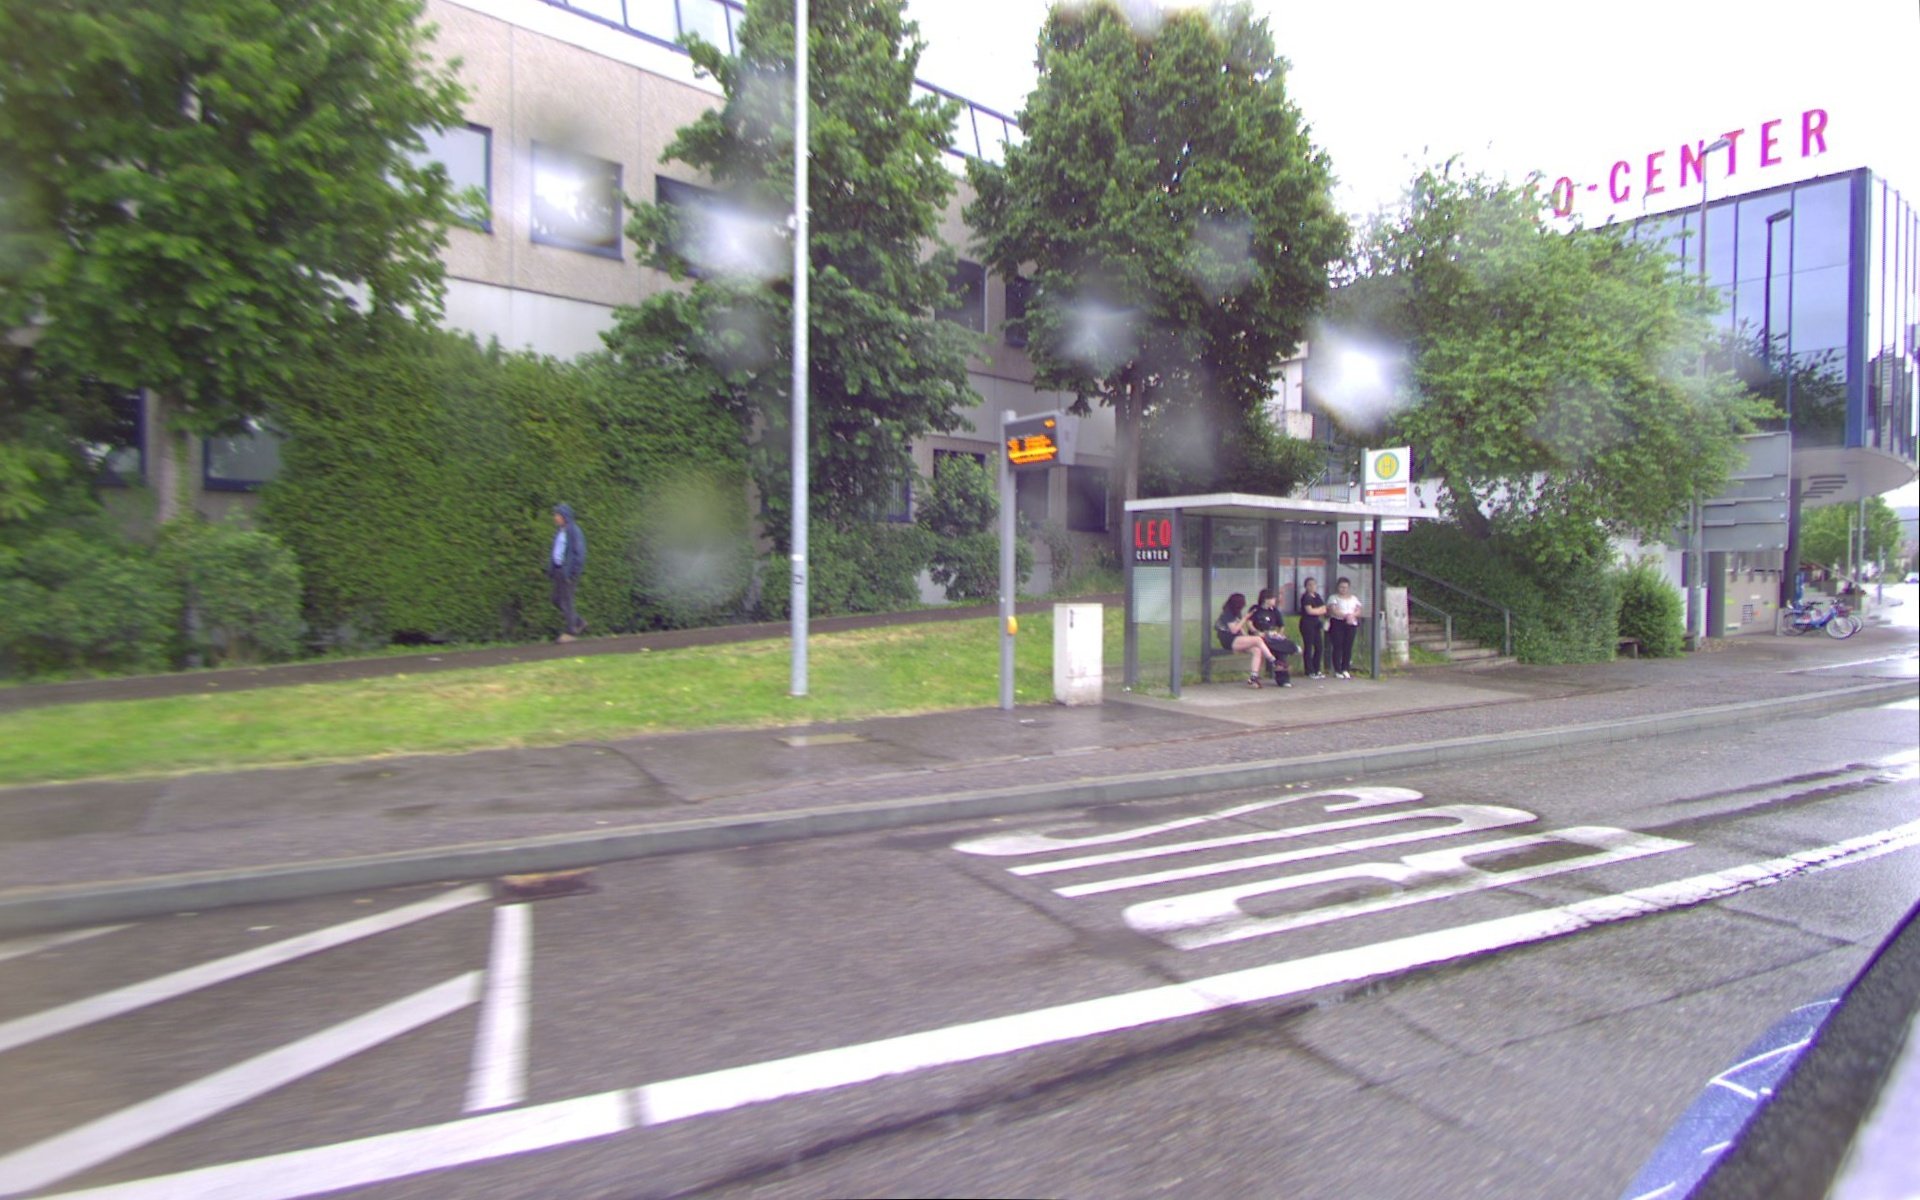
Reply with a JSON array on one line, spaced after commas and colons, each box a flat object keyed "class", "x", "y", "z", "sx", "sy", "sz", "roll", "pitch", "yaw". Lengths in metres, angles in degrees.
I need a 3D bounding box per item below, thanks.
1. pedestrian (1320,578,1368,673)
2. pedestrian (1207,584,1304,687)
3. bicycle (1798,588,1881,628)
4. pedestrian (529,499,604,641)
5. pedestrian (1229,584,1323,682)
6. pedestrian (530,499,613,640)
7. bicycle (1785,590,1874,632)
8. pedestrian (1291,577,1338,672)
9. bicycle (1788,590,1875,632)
[{"class": "pedestrian", "x": 5.803, "y": 0.380, "z": 15.320, "sx": 0.534, "sy": 1.382, "sz": 0.411, "roll": 2, "pitch": 2, "yaw": 7}, {"class": "pedestrian", "x": 4.013, "y": 0.450, "z": 13.778, "sx": 0.679, "sy": 1.297, "sz": 1.033, "roll": 0, "pitch": 3, "yaw": -37}, {"class": "bicycle", "x": 27.377, "y": 0.237, "z": 31.518, "sx": 0.681, "sy": 1.124, "sz": 1.835, "roll": -1, "pitch": 3, "yaw": -37}, {"class": "pedestrian", "x": -5.210, "y": -0.405, "z": 13.401, "sx": 0.662, "sy": 1.819, "sz": 0.674, "roll": -4, "pitch": 3, "yaw": -40}, {"class": "pedestrian", "x": 4.478, "y": 0.438, "z": 14.374, "sx": 0.679, "sy": 1.297, "sz": 1.033, "roll": 0, "pitch": 3, "yaw": -37}, {"class": "pedestrian", "x": -5.232, "y": -0.407, "z": 13.624, "sx": 0.782, "sy": 1.818, "sz": 0.849, "roll": -2, "pitch": 2, "yaw": -38}, {"class": "bicycle", "x": 25.238, "y": 0.304, "z": 29.399, "sx": 0.681, "sy": 1.124, "sz": 1.815, "roll": 0, "pitch": 3, "yaw": -38}, {"class": "pedestrian", "x": 5.321, "y": 0.360, "z": 15.219, "sx": 0.533, "sy": 1.382, "sz": 0.411, "roll": 2, "pitch": 2, "yaw": 6}, {"class": "bicycle", "x": 25.402, "y": 0.305, "z": 29.528, "sx": 0.672, "sy": 1.098, "sz": 1.806, "roll": -1, "pitch": 3, "yaw": -38}]
